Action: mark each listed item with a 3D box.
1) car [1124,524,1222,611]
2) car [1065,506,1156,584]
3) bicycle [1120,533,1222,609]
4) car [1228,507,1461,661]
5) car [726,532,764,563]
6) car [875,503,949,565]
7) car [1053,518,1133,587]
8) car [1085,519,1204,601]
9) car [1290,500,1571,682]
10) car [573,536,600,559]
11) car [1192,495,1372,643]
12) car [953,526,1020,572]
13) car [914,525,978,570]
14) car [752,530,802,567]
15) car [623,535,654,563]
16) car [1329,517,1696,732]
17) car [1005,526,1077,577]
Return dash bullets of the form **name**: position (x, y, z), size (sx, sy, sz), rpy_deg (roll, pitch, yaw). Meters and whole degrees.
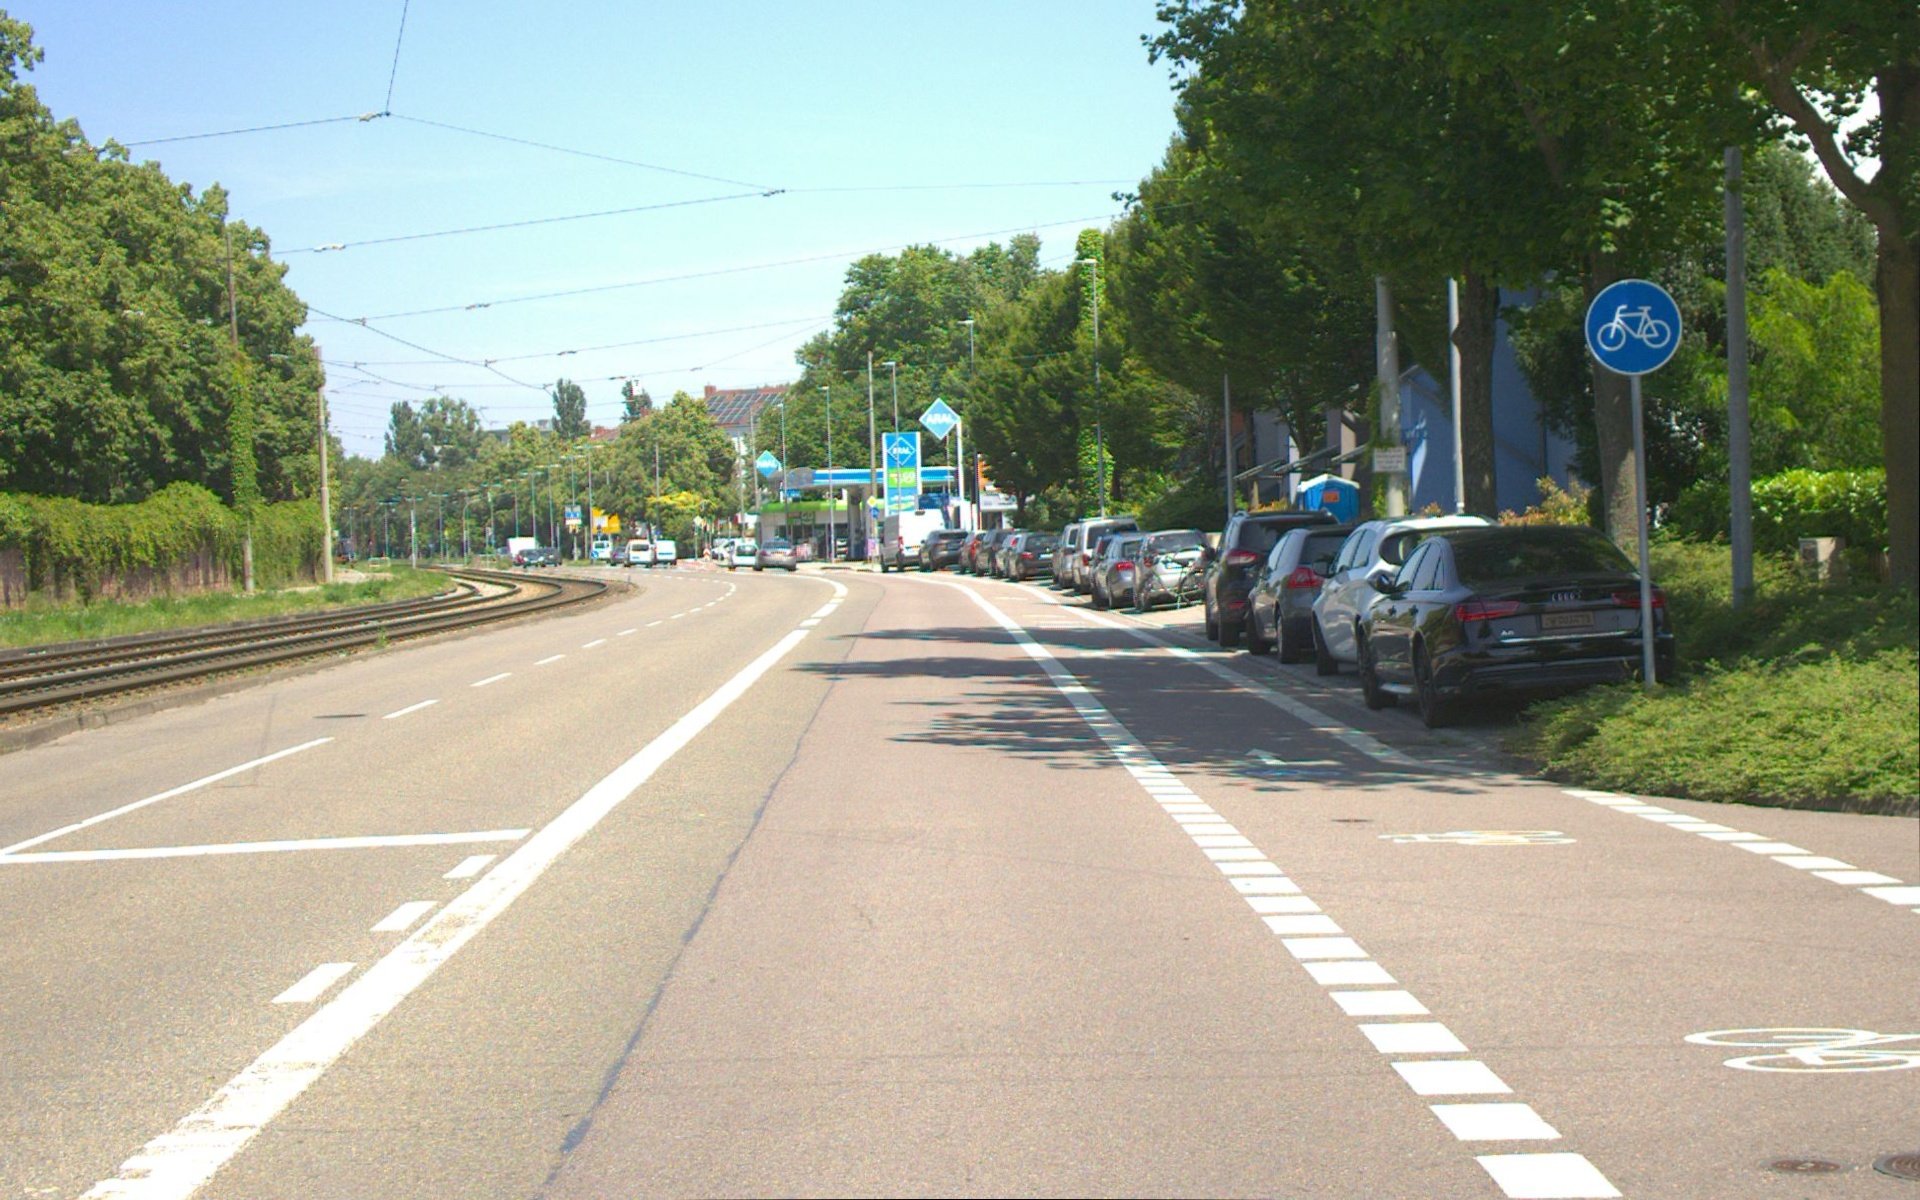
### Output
- **car**: position (4.088, -0.657, 66.429), size (1.519, 1.524, 3.817), rpy_deg (-4, 1, 0)
- **car**: position (3.759, -1.404, 86.406), size (1.840, 1.787, 4.354), rpy_deg (-4, 1, -2)
- **bicycle**: position (3.958, -0.546, 64.392), size (1.774, 1.224, 0.683), rpy_deg (-6, 1, 4)
- **car**: position (4.266, -0.218, 38.778), size (1.840, 1.524, 4.354), rpy_deg (-4, 1, -3)
- **car**: position (-12.321, -3.030, 196.982), size (1.755, 1.625, 4.325), rpy_deg (-4, 1, -8)
- **car**: position (-2.073, -2.797, 146.605), size (2.000, 2.448, 6.111), rpy_deg (-4, 1, -10)
- **car**: position (3.556, -1.303, 92.594), size (1.840, 1.688, 4.779), rpy_deg (-4, 1, 0)
- **car**: position (3.797, -0.861, 71.434), size (1.840, 1.524, 4.967), rpy_deg (-4, 1, -3)
- **car**: position (4.475, -0.129, 33.308), size (1.840, 1.524, 4.206), rpy_deg (-4, 1, -3)
- **car**: position (-27.364, -3.851, 251.891), size (1.755, 1.625, 4.325), rpy_deg (-4, 1, -8)
- **car**: position (4.110, -0.445, 44.508), size (1.841, 1.700, 4.626), rpy_deg (-4, 1, 1)
- **car**: position (0.951, -1.884, 126.535), size (1.706, 1.557, 4.325), rpy_deg (-4, 1, -8)
- **car**: position (-0.558, -2.080, 136.505), size (1.755, 1.625, 4.325), rpy_deg (-4, 1, -10)
- **car**: position (-8.575, -2.417, 161.155), size (1.755, 1.625, 4.325), rpy_deg (-4, 1, -10)
- **car**: position (-22.268, -3.530, 237.986), size (1.755, 1.868, 4.325), rpy_deg (-4, 1, -10)
- **car**: position (4.236, 0.120, 27.152), size (1.840, 1.431, 4.825), rpy_deg (-4, 1, -2)
- **car**: position (2.546, -1.570, 109.446), size (1.706, 1.487, 5.039), rpy_deg (-4, 1, -4)
